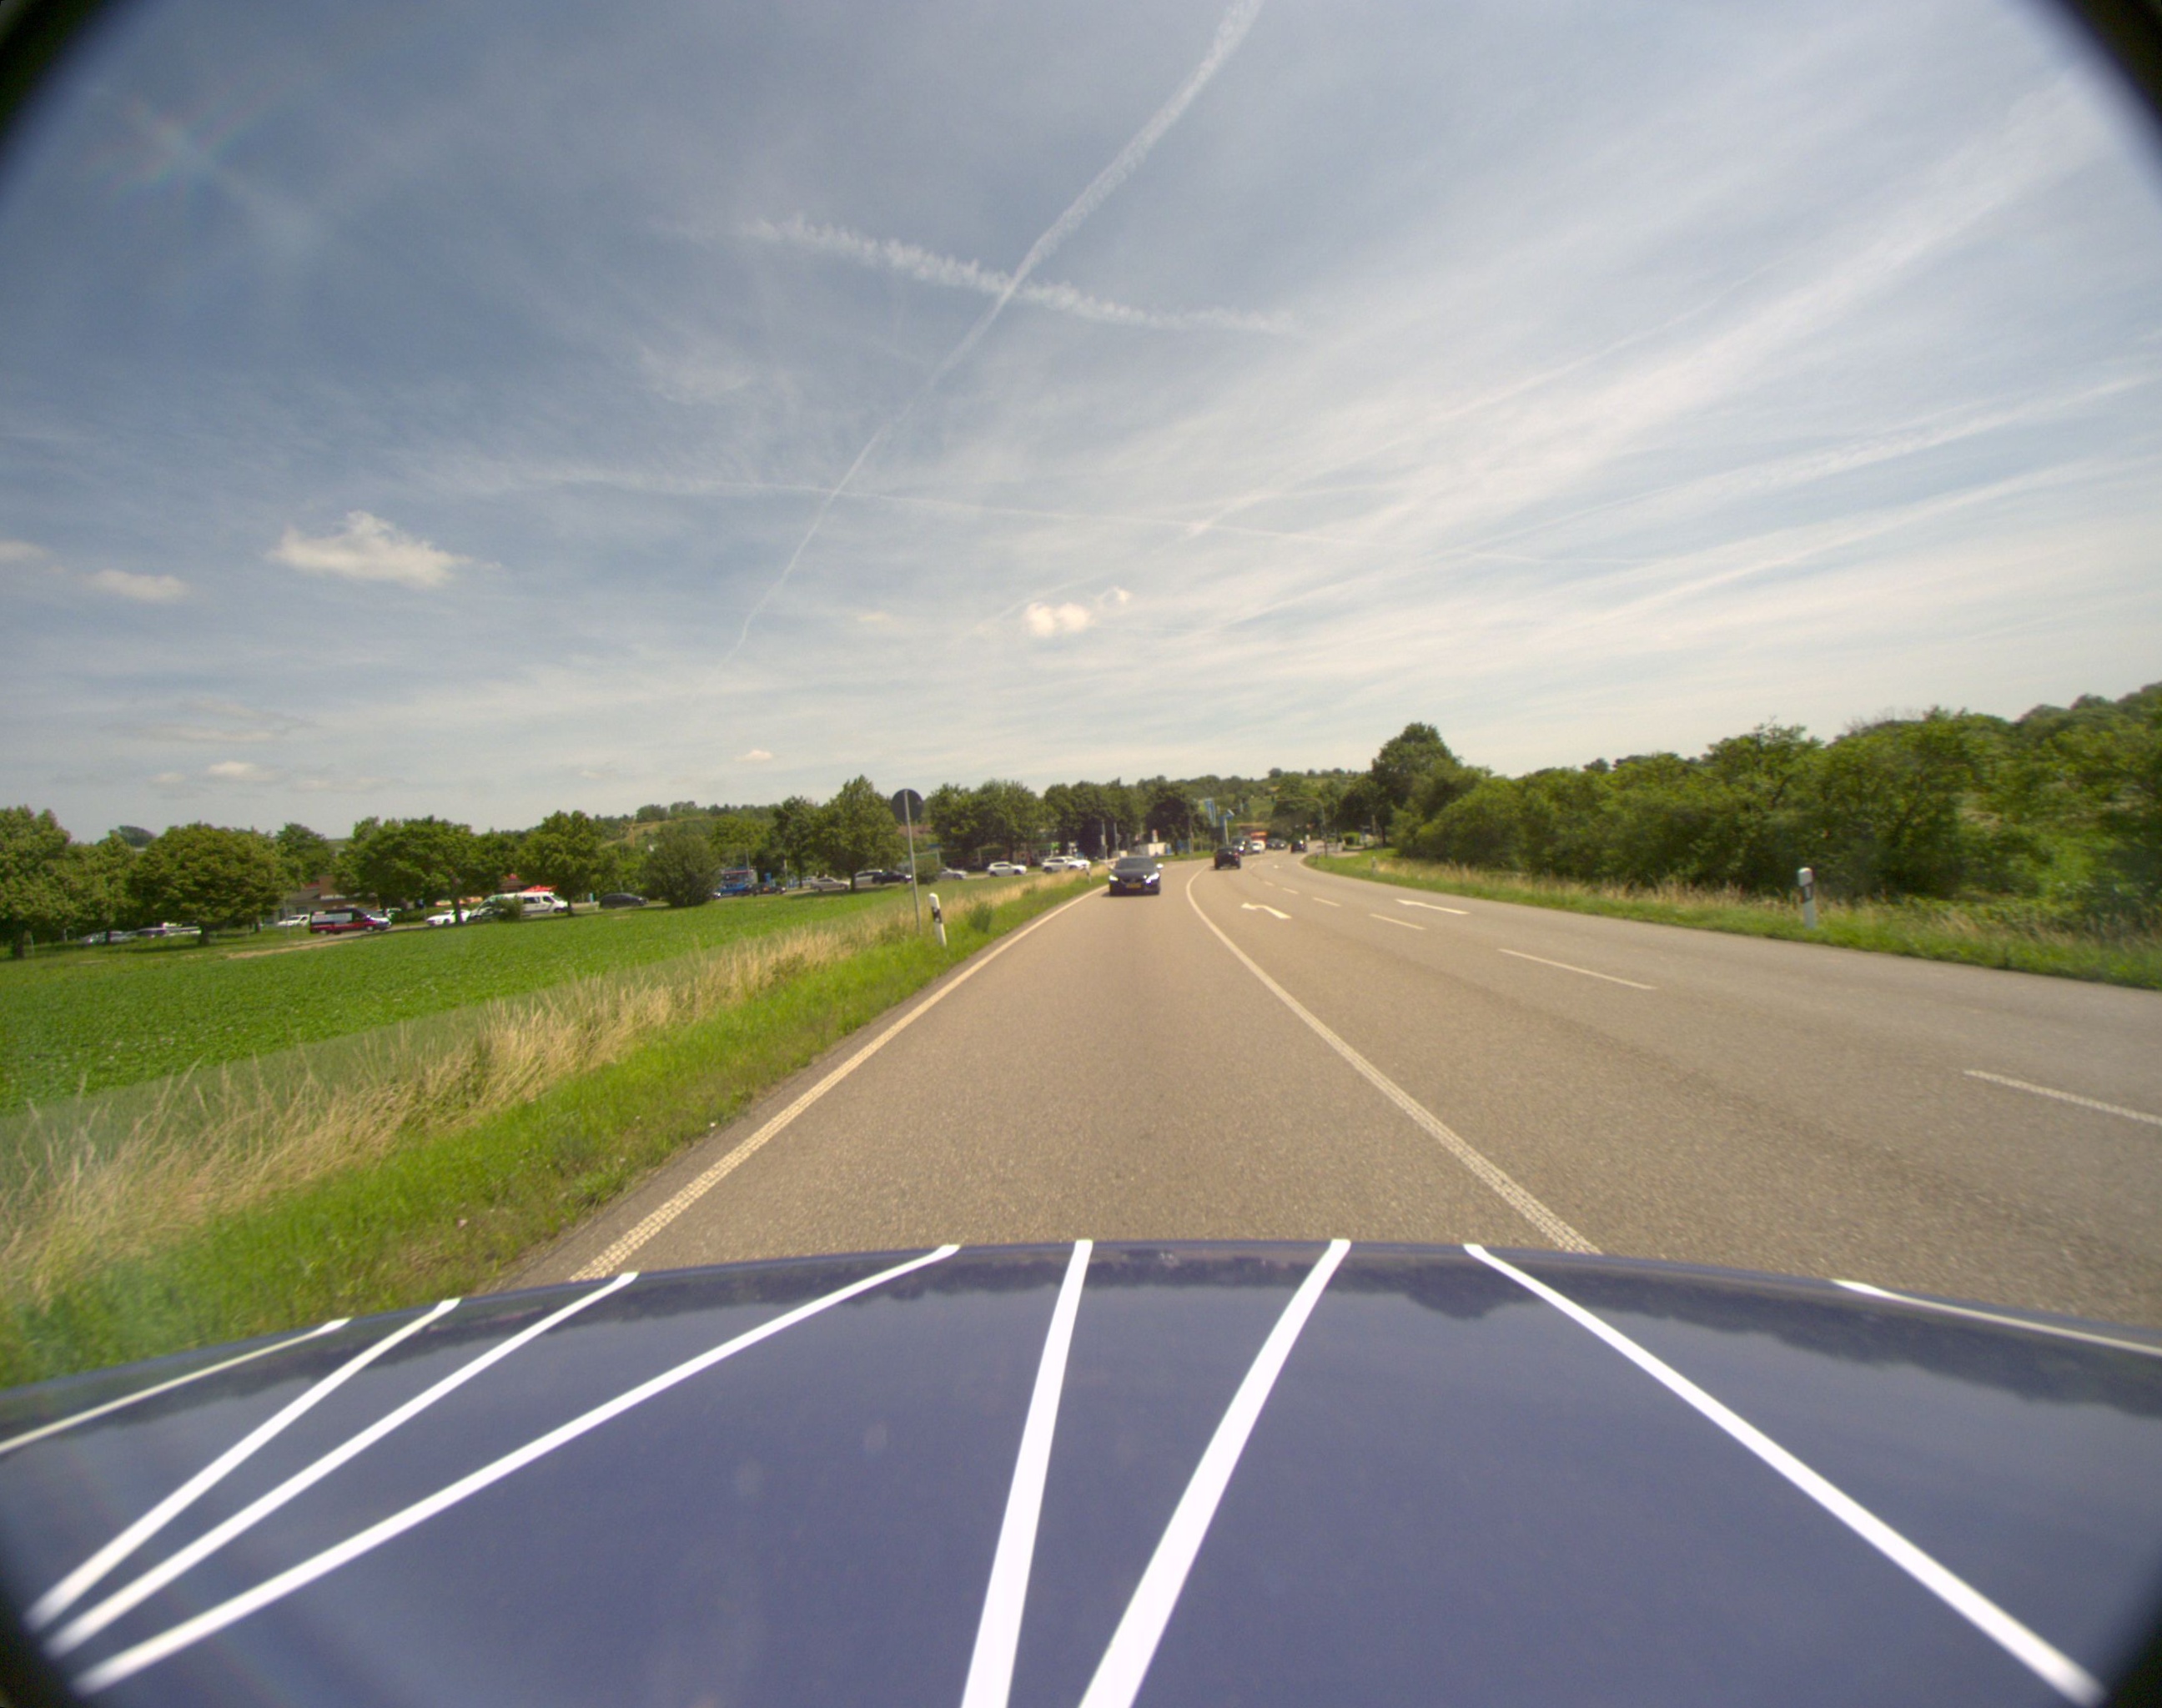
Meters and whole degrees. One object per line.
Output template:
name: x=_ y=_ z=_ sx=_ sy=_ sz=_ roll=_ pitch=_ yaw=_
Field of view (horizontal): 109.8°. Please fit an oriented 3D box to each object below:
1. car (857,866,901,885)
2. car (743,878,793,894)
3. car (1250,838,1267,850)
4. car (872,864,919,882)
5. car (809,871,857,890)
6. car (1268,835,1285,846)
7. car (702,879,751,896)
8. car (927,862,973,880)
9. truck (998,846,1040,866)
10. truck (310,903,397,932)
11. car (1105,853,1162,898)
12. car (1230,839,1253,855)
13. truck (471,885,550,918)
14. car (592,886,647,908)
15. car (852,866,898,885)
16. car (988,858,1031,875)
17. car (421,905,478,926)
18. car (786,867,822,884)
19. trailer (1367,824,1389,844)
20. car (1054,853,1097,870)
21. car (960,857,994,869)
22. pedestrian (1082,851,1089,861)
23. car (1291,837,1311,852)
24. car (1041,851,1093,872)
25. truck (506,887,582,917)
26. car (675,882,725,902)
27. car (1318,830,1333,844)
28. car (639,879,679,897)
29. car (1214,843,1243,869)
car: x=-23.466 y=2.495 z=88.406 sx=4.524 sy=1.682 sz=1.865 roll=-4 pitch=2 yaw=-4
car: x=-33.235 y=3.391 z=80.846 sx=4.563 sy=1.266 sz=1.798 roll=-5 pitch=2 yaw=-13
car: x=24.715 y=-1.391 z=105.666 sx=1.781 sy=1.484 sz=4.161 roll=-3 pitch=2 yaw=19
car: x=-19.907 y=2.056 z=81.602 sx=4.559 sy=1.502 sz=1.799 roll=-4 pitch=3 yaw=-2
car: x=-26.626 y=2.828 z=81.614 sx=4.561 sy=1.502 sz=1.799 roll=-5 pitch=2 yaw=-7
car: x=31.379 y=-2.158 z=121.955 sx=1.806 sy=1.722 sz=4.006 roll=-4 pitch=0 yaw=24
car: x=-38.842 y=3.651 z=83.311 sx=4.387 sy=1.549 sz=1.783 roll=-4 pitch=0 yaw=-9
car: x=-14.128 y=1.813 z=82.157 sx=4.557 sy=1.502 sz=1.800 roll=-4 pitch=2 yaw=3
truck: x=-9.533 y=0.349 z=117.121 sx=6.159 sy=2.603 sz=2.257 roll=-5 pitch=1 yaw=-42
truck: x=-67.866 y=5.857 z=70.952 sx=5.478 sy=1.965 sz=1.798 roll=-5 pitch=2 yaw=-18
car: x=1.882 y=0.736 z=28.271 sx=1.783 sy=1.484 sz=4.157 roll=-3 pitch=0 yaw=0
car: x=20.482 y=-0.848 z=96.985 sx=1.806 sy=1.723 sz=4.005 roll=-3 pitch=2 yaw=27
truck: x=-59.150 y=4.899 z=78.865 sx=5.944 sy=2.723 sz=2.070 roll=-5 pitch=3 yaw=-13
car: x=-47.470 y=4.433 z=78.295 sx=4.292 sy=1.688 sz=1.997 roll=-5 pitch=2 yaw=-12
car: x=-23.263 y=2.398 z=85.709 sx=4.522 sy=1.682 sz=1.867 roll=-4 pitch=2 yaw=4
car: x=-7.599 y=1.302 z=80.872 sx=4.100 sy=1.411 sz=1.801 roll=-4 pitch=2 yaw=10
car: x=-68.046 y=6.616 z=81.975 sx=1.874 sy=1.550 sz=4.502 roll=-4 pitch=2 yaw=10
car: x=-35.721 y=2.776 z=97.949 sx=4.001 sy=1.814 sz=1.820 roll=-5 pitch=2 yaw=-14
trailer: x=62.077 y=-4.158 z=159.206 sx=2.570 sy=4.007 sz=13.606 roll=-3 pitch=1 yaw=14
car: x=-0.580 y=0.758 z=79.939 sx=3.964 sy=1.411 sz=1.830 roll=-4 pitch=2 yaw=24
car: x=-14.455 y=1.264 z=105.924 sx=4.325 sy=1.355 sz=1.756 roll=-5 pitch=2 yaw=-27
pedestrian: x=0.691 y=0.361 z=120.792 sx=0.722 sy=1.488 sz=0.666 roll=-6 pitch=3 yaw=-32
car: x=28.750 y=-1.276 z=99.191 sx=1.995 sy=1.686 sz=4.005 roll=-2 pitch=2 yaw=22
car: x=-1.350 y=0.757 z=75.538 sx=4.631 sy=1.598 sz=2.000 roll=-5 pitch=2 yaw=22
truck: x=-53.527 y=4.745 z=75.844 sx=5.641 sy=2.353 sz=2.050 roll=-5 pitch=2 yaw=-19
car: x=-39.665 y=3.950 z=79.121 sx=4.234 sy=1.502 sz=1.798 roll=-5 pitch=2 yaw=-15
car: x=40.111 y=-2.773 z=124.440 sx=1.996 sy=1.994 sz=5.170 roll=-3 pitch=1 yaw=20
car: x=-51.429 y=4.119 z=92.722 sx=4.004 sy=1.814 sz=1.819 roll=-5 pitch=2 yaw=-26
car: x=10.848 y=0.112 z=55.770 sx=1.773 sy=1.649 sz=4.003 roll=-3 pitch=1 yaw=15
